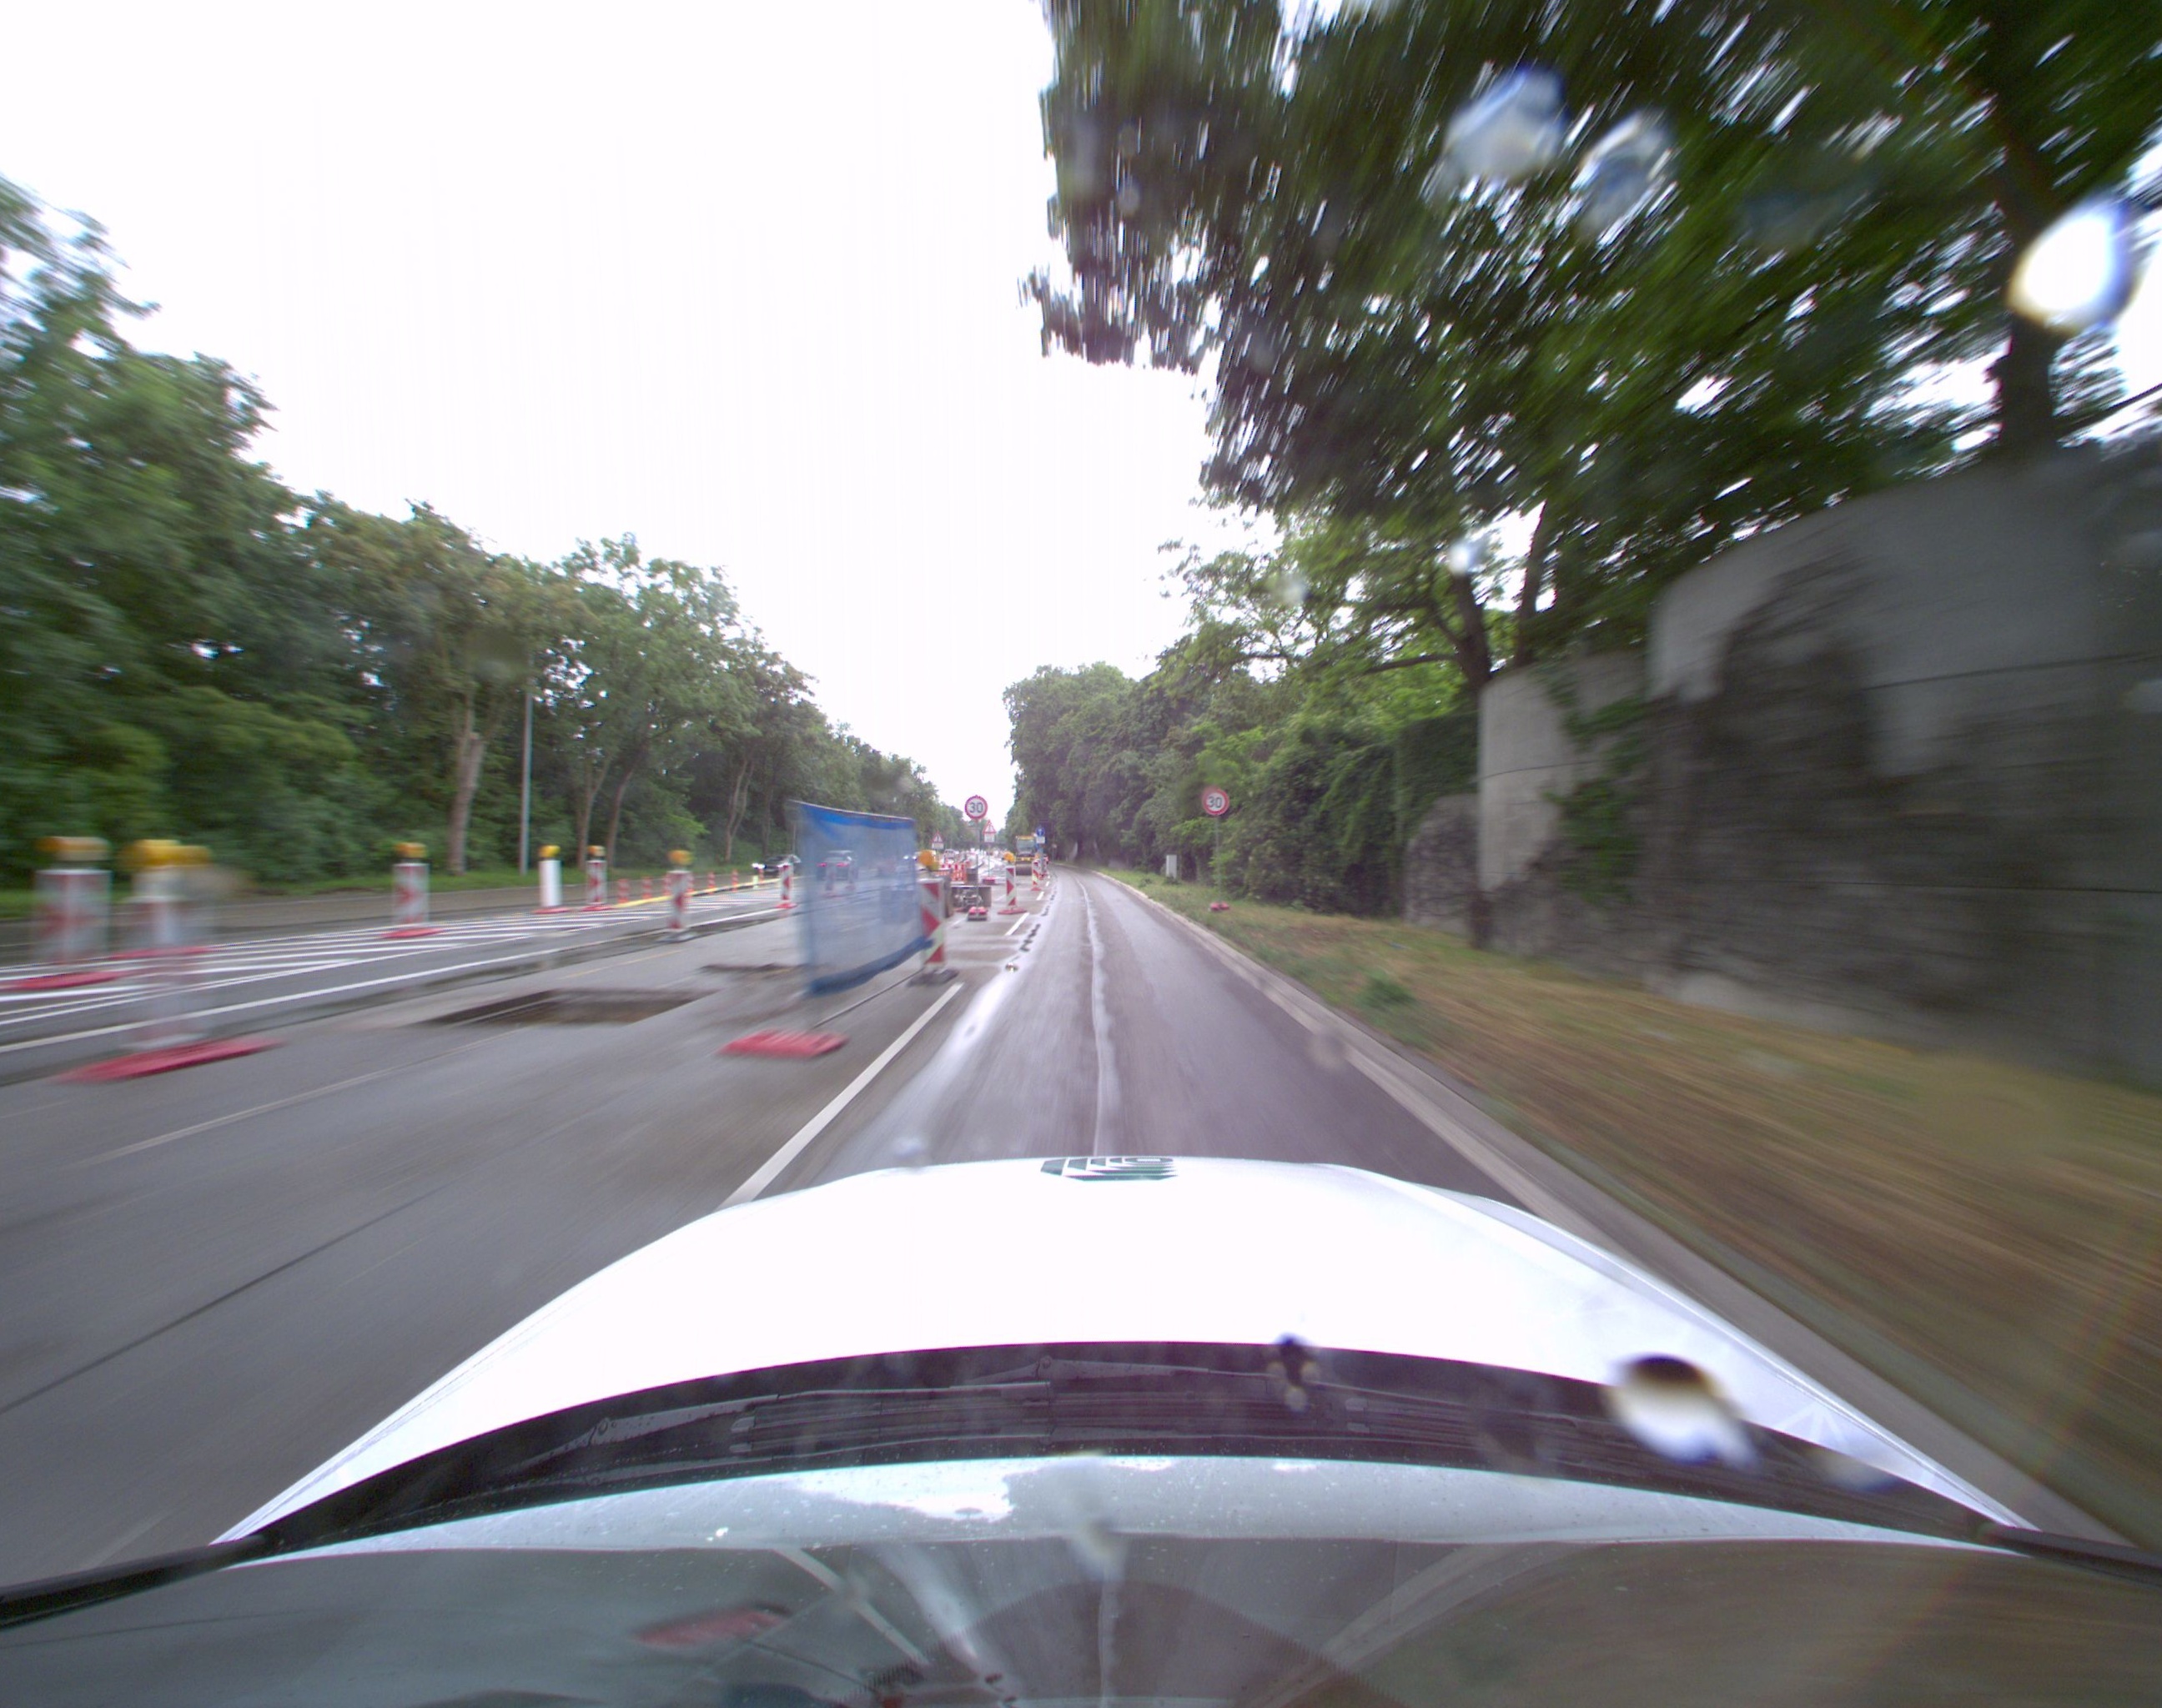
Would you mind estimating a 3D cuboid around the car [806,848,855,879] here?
[{"bbox_3d":[-13.927,0.499,45.398,1.860,1.491,3.992,2,2,-6],"label":"car"}]

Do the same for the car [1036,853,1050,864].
[{"bbox_3d":[-5.897,0.730,127.603,1.908,1.598,4.833,1,1,0],"label":"car"}]

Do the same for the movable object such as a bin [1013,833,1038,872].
[{"bbox_3d":[-4.236,-0.134,62.417,1.742,2.867,3.532,0,0,-2],"label":"movable object such as a bin"}]

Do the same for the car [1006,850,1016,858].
[{"bbox_3d":[-15.450,-0.032,180.358,1.869,1.618,3.999,2,1,0],"label":"car"}]

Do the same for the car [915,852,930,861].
[{"bbox_3d":[-29.783,0.431,152.930,1.921,1.665,4.651,0,0,0],"label":"car"}]

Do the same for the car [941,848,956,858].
[{"bbox_3d":[-24.574,-0.250,150.934,1.921,1.778,4.651,0,0,0],"label":"car"}]

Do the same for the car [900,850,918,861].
[{"bbox_3d":[-27.474,0.274,130.478,1.921,1.665,4.651,0,0,0],"label":"car"}]

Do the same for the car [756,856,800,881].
[{"bbox_3d":[-18.526,0.850,49.857,1.424,1.407,3.821,-1,0,-3],"label":"car"}]

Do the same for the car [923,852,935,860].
[{"bbox_3d":[-33.618,0.443,180.369,1.921,1.665,4.651,0,0,0],"label":"car"}]
